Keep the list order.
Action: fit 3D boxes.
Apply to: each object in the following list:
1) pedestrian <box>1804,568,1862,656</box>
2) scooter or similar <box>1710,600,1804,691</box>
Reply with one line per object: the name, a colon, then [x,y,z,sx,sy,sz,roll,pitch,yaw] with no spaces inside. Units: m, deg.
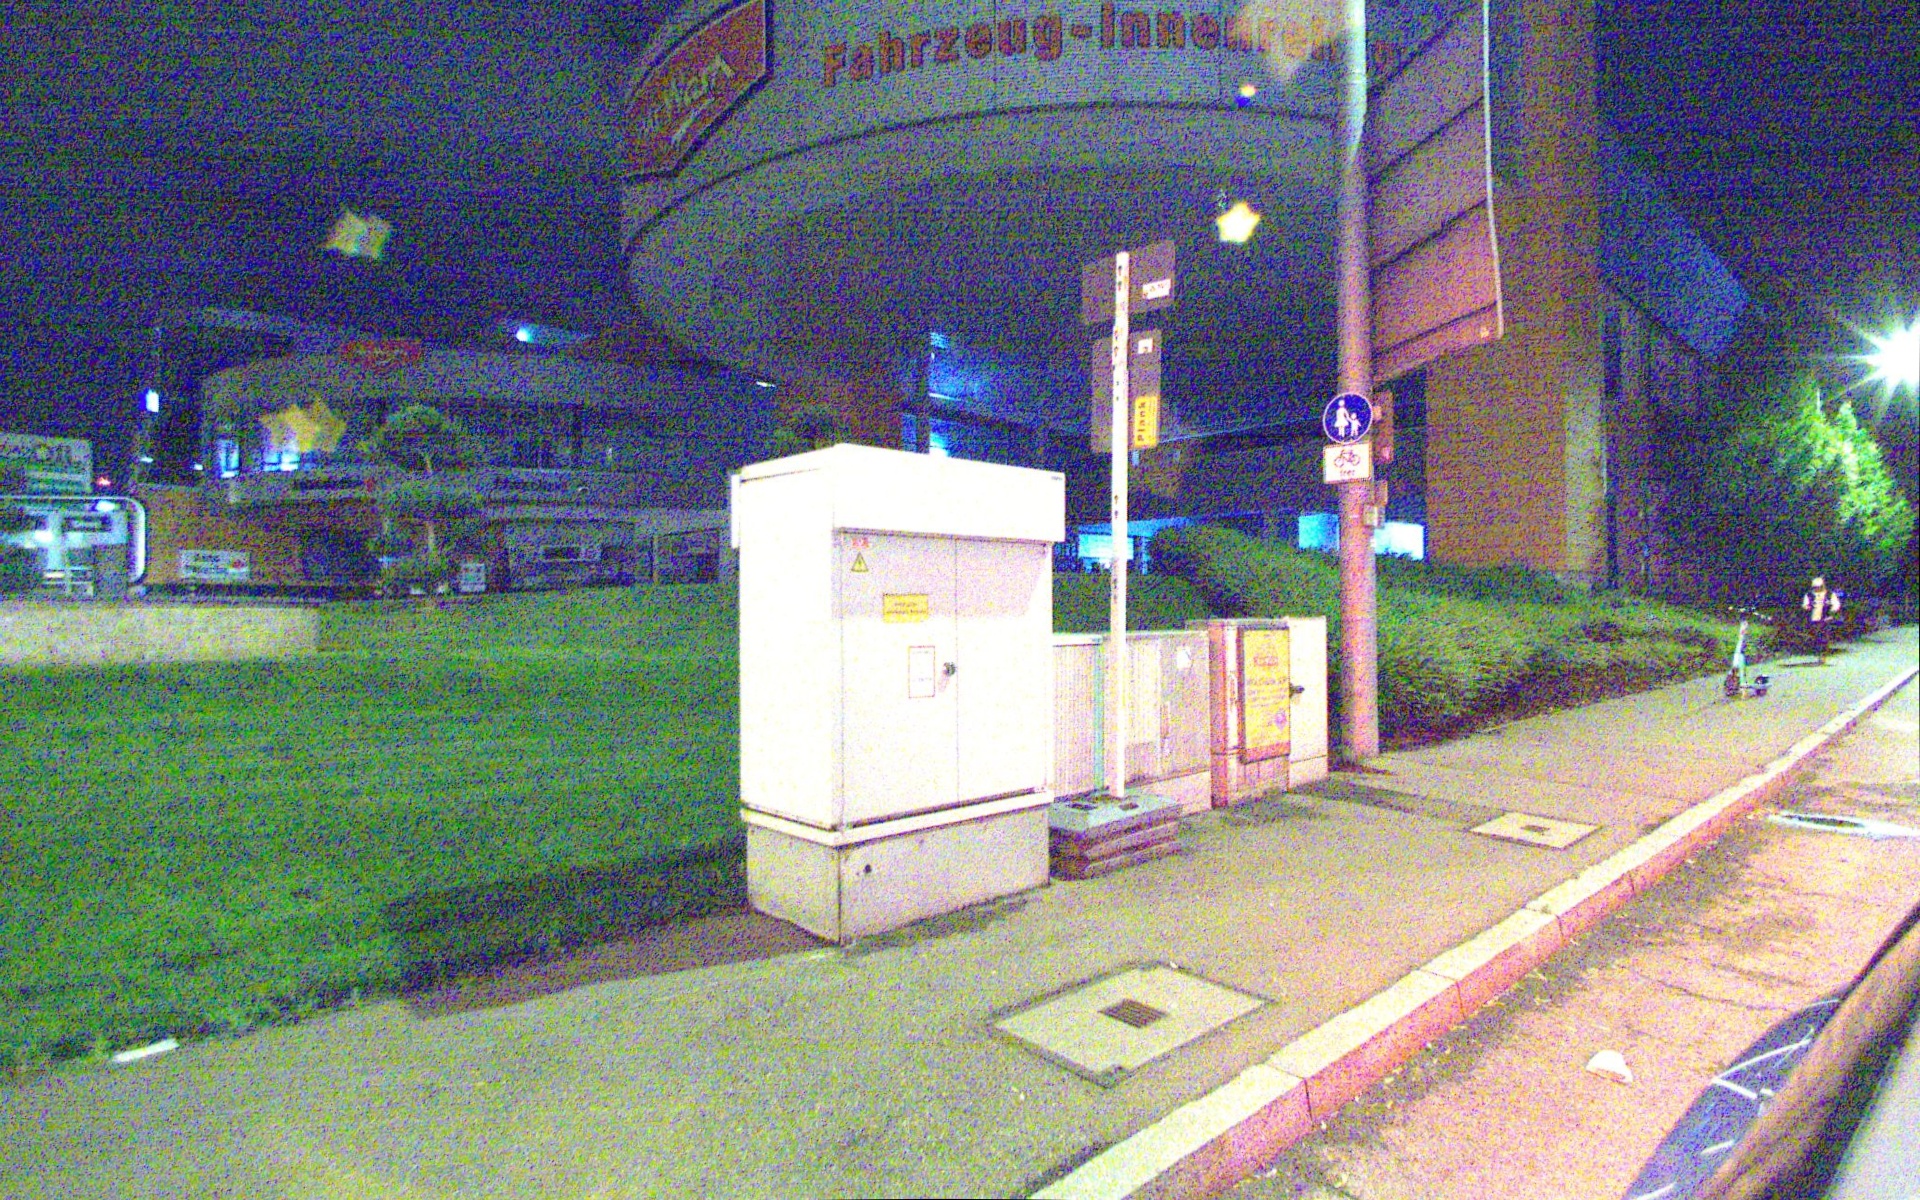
pedestrian: [19.227,0.254,22.282,1.016,1.888,0.819,0,0,-41]
scooter or similar: [10.990,0.625,13.953,1.111,1.217,0.470,1,-1,-17]
